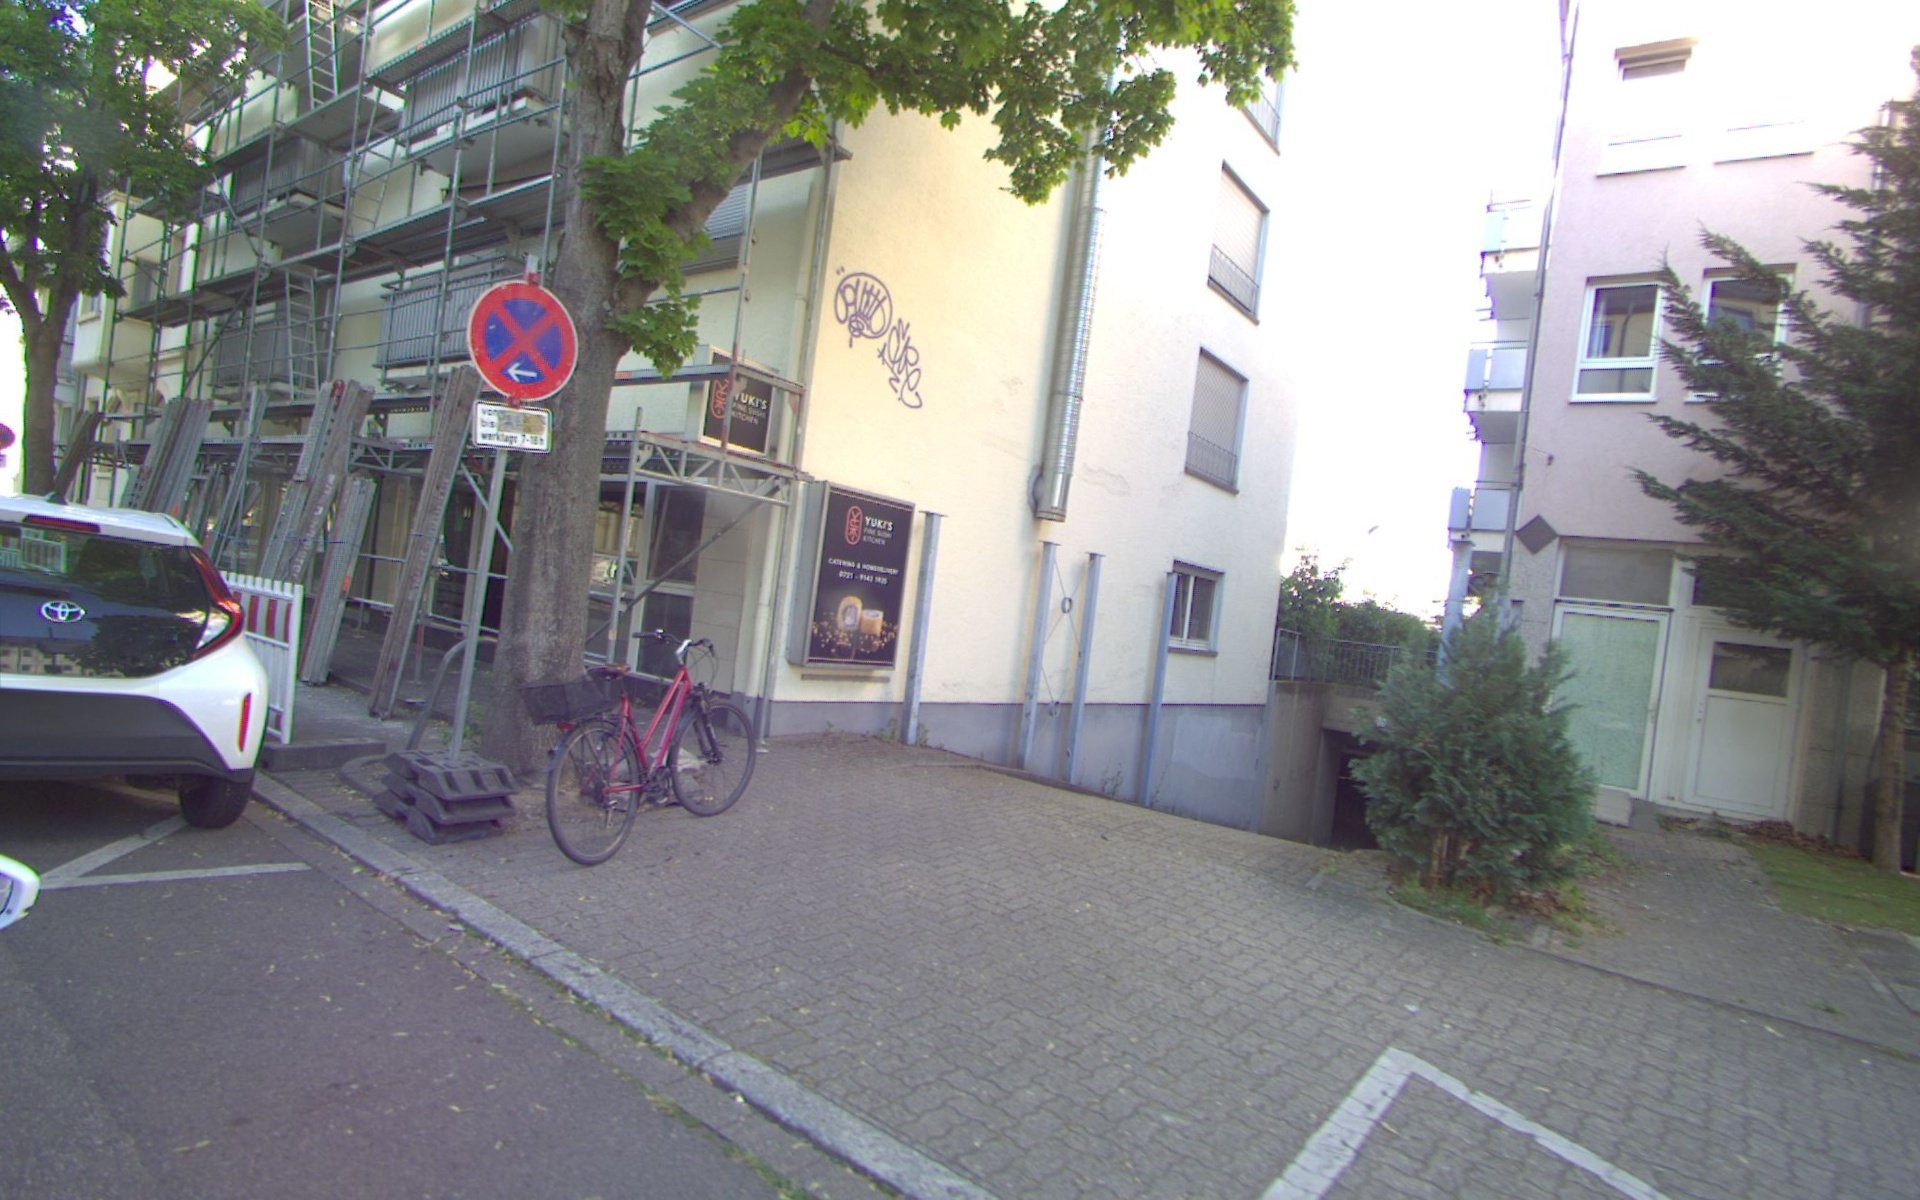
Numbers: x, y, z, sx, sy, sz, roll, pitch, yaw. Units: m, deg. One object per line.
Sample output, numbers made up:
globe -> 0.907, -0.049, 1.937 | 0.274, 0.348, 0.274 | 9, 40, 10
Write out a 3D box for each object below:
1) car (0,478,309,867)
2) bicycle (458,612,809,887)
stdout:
car -> -5.048, 0.173, 5.217 | 3.353, 1.563, 1.675 | 7, -2, 38
bicycle -> -1.696, 0.700, 5.644 | 0.713, 1.181, 1.984 | 7, 2, 20
